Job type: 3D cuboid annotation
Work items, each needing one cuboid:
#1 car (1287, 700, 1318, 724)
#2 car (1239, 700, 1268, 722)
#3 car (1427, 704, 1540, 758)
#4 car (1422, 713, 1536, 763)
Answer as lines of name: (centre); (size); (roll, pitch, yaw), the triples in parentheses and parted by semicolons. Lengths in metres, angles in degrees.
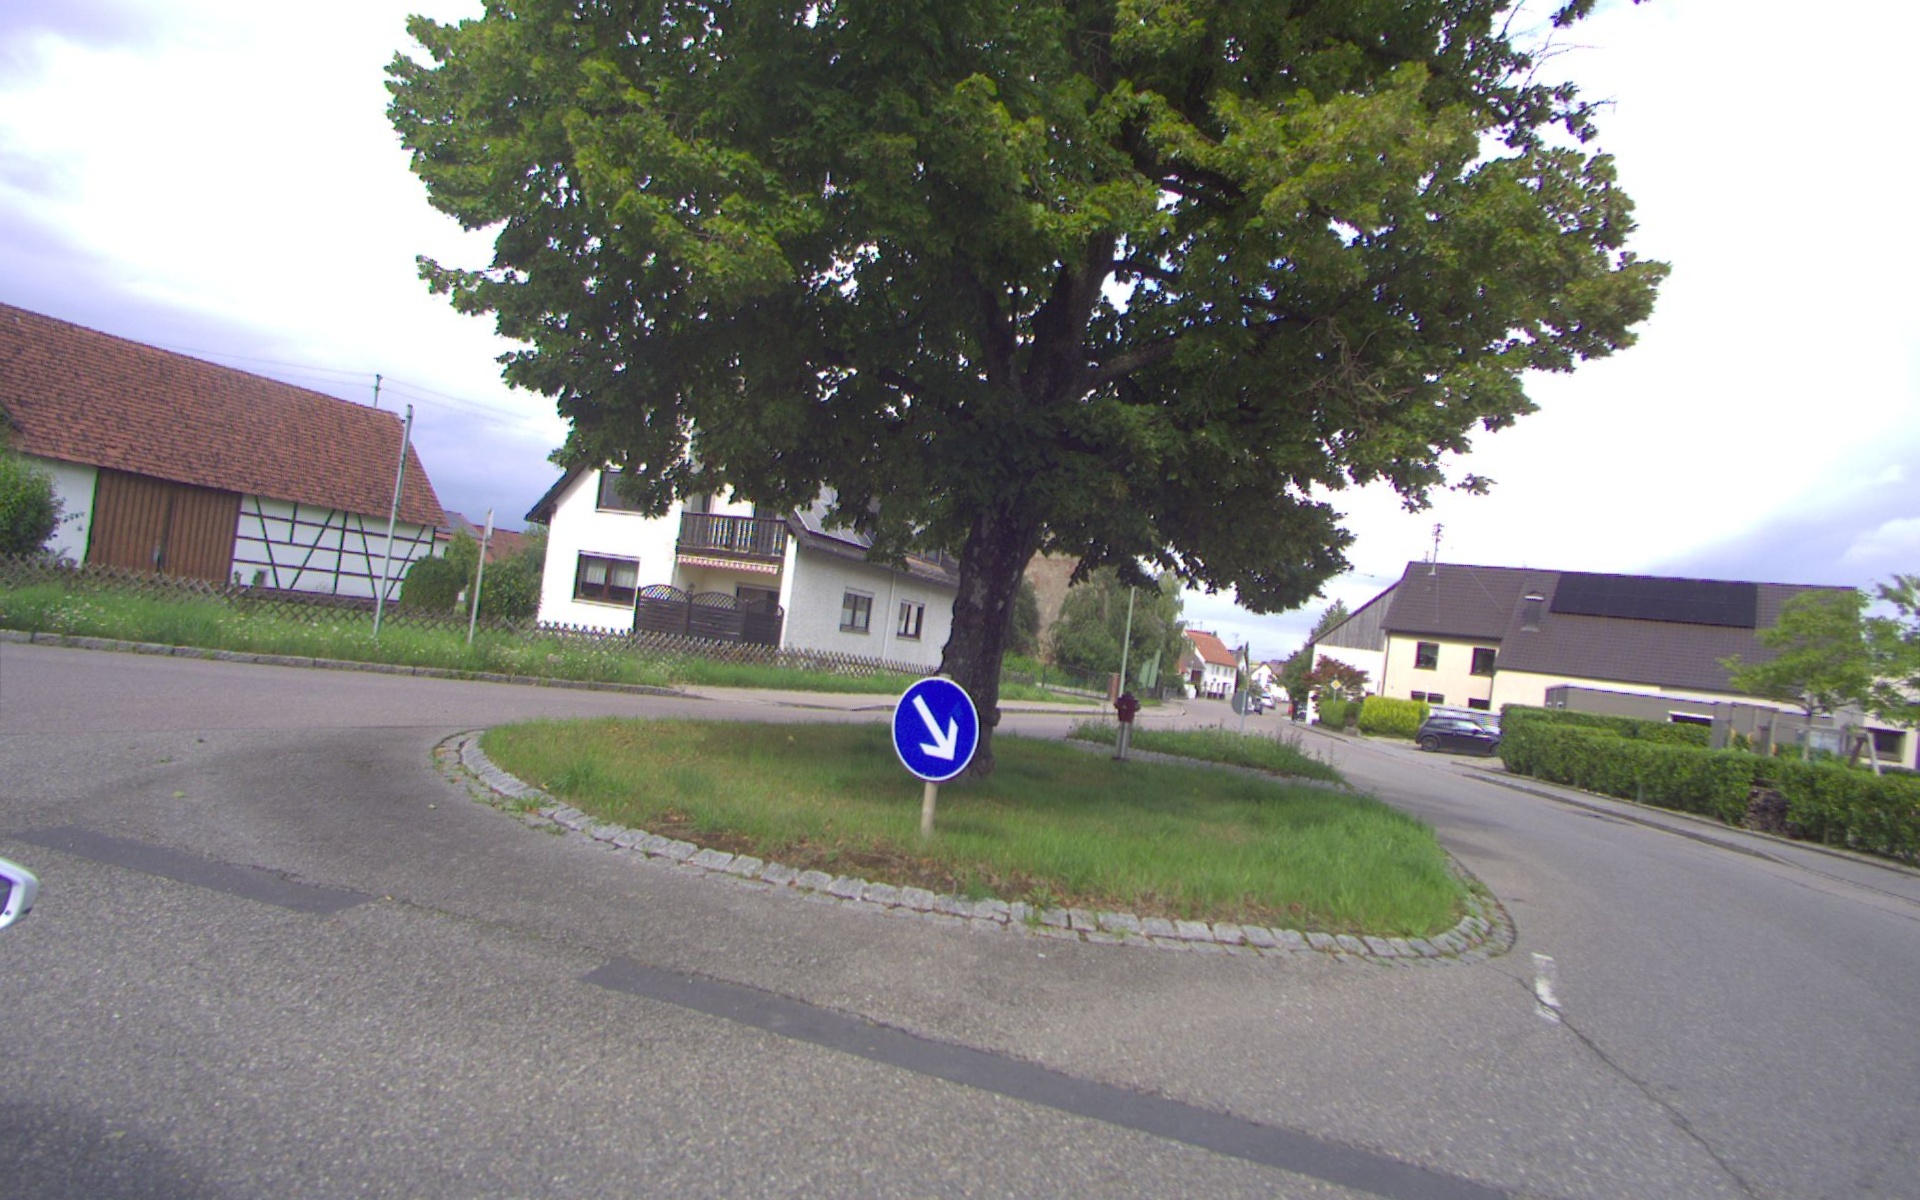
car: (27.123, 8.860, 79.613); (1.700, 1.625, 4.001); (7, -2, 25)
car: (25.649, 9.686, 87.875); (1.700, 1.625, 4.001); (7, -2, 25)
car: (21.631, 5.382, 41.618); (3.850, 1.719, 1.696); (3, -2, 38)
car: (20.308, 5.374, 39.489); (3.839, 1.419, 1.700); (4, -2, 27)
